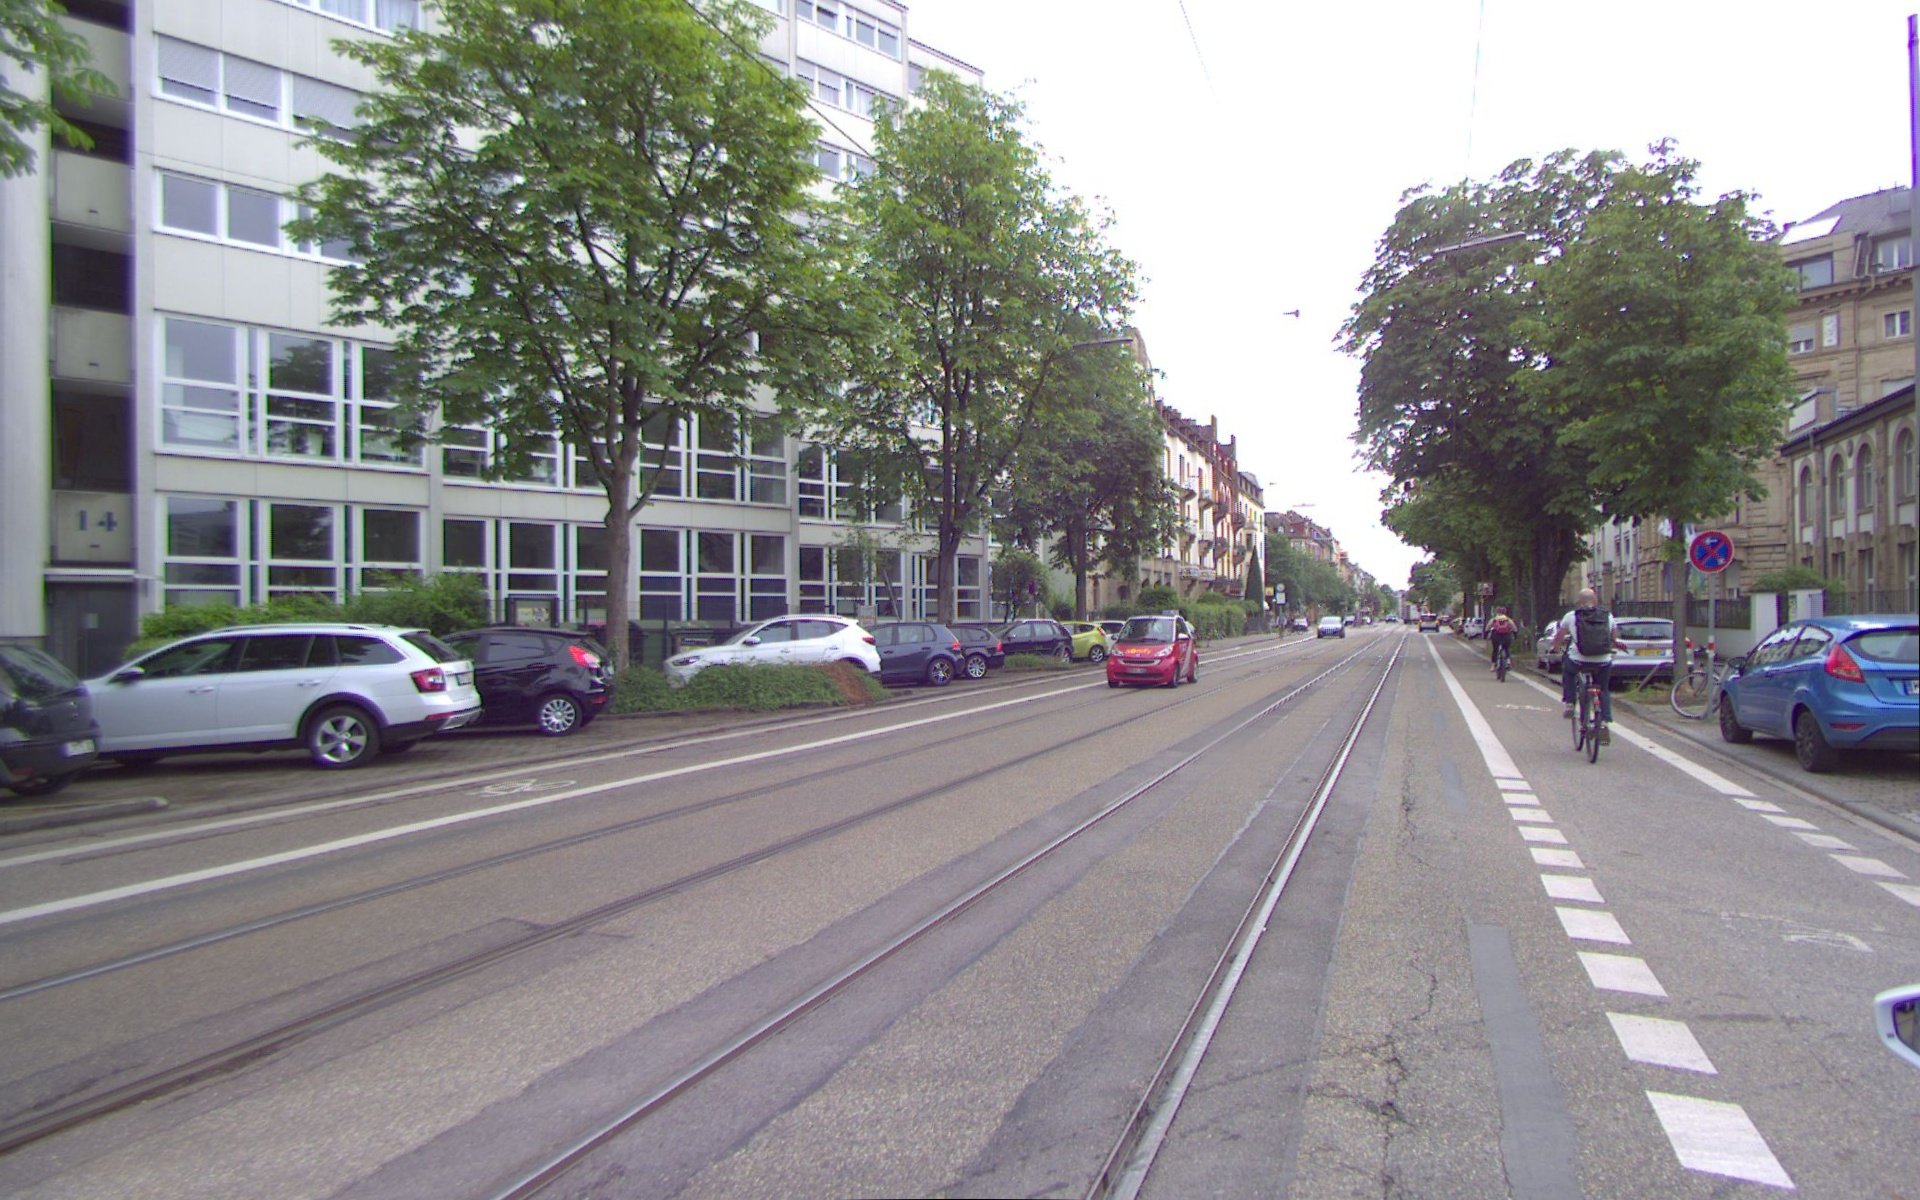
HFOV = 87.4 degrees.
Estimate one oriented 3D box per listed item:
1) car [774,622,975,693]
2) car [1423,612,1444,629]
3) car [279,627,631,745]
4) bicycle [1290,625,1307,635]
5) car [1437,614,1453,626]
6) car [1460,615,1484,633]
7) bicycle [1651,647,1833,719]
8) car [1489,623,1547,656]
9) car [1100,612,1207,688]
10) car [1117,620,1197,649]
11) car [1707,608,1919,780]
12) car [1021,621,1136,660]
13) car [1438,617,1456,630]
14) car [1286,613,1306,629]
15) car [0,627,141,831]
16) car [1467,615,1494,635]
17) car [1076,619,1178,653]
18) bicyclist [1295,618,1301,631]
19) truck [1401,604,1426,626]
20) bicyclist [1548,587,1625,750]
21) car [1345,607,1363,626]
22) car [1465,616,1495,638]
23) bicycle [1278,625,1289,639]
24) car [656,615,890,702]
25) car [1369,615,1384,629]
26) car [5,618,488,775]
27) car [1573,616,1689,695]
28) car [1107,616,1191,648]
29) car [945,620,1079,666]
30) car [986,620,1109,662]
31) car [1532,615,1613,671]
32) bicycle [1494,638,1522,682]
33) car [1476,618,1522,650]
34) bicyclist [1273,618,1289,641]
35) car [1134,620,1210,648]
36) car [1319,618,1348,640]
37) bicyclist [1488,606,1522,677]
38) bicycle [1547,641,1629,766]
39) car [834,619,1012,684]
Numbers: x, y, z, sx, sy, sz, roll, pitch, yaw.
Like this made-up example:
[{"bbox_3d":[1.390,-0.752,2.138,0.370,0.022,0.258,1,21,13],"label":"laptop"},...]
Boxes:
[{"bbox_3d":[-1.947,1.267,22.897,4.281,1.473,1.692,1,-1,-21],"label":"car"},{"bbox_3d":[48.496,2.136,102.829,1.784,1.731,3.694,0,-1,27],"label":"car"},{"bbox_3d":[-6.665,1.110,13.693,3.959,1.424,1.696,1,0,-13],"label":"car"},{"bbox_3d":[30.131,2.682,89.416,1.421,0.811,0.435,-1,-1,18],"label":"bicycle"},{"bbox_3d":[59.099,2.481,122.336,1.743,1.417,3.790,-1,-1,27],"label":"car"},{"bbox_3d":[42.717,1.999,83.789,1.743,1.417,3.790,-1,-1,27],"label":"car"},{"bbox_3d":[11.190,1.174,14.449,1.979,0.969,0.534,-1,-1,22],"label":"bicycle"},{"bbox_3d":[22.588,1.582,40.765,1.845,1.268,3.995,-1,-1,27],"label":"car"},{"bbox_3d":[4.284,1.053,21.985,1.650,1.542,2.779,0,-1,25],"label":"car"},{"bbox_3d":[9.804,1.714,50.144,3.646,1.404,1.700,1,0,1],"label":"car"},{"bbox_3d":[9.167,0.850,10.301,1.648,1.480,3.430,-2,-2,24],"label":"car"},{"bbox_3d":[4.420,1.484,37.517,3.909,1.370,1.692,1,-1,-21],"label":"car"},{"bbox_3d":[75.608,3.686,155.919,1.960,2.040,4.001,0,-1,18],"label":"car"},{"bbox_3d":[47.224,2.931,141.017,2.144,2.236,4.215,-1,-1,25],"label":"car"},{"bbox_3d":[-9.161,0.998,8.028,3.649,1.544,1.692,1,0,-20],"label":"car"},{"bbox_3d":[37.985,1.831,73.411,1.672,1.377,3.790,-1,-1,27],"label":"car"},{"bbox_3d":[6.978,1.489,42.023,3.909,1.370,1.692,1,-1,-21],"label":"car"},{"bbox_3d":[30.099,2.202,89.455,0.503,1.184,0.439,-1,-1,18],"label":"bicyclist"},{"bbox_3d":[87.694,2.911,194.289,3.746,4.083,10.215,-1,-1,21],"label":"truck"},{"bbox_3d":[6.496,0.678,10.418,0.653,1.590,0.983,0,-1,33],"label":"bicyclist"},{"bbox_3d":[52.417,2.164,133.619,2.169,2.449,3.999,-1,-1,21],"label":"car"},{"bbox_3d":[33.861,1.738,65.495,1.641,1.417,3.656,-1,-1,27],"label":"car"},{"bbox_3d":[21.602,2.111,67.035,0.462,0.880,2.136,-1,-1,25],"label":"bicycle"},{"bbox_3d":[-3.700,1.113,19.946,4.286,1.576,1.690,1,-1,-24],"label":"car"},{"bbox_3d":[71.934,3.798,173.331,2.171,2.285,3.997,-1,-1,25],"label":"car"},{"bbox_3d":[-7.550,0.982,11.063,3.959,1.504,1.696,1,0,-13],"label":"car"},{"bbox_3d":[13.997,1.086,21.120,1.452,1.500,3.563,0,-1,24],"label":"car"},{"bbox_3d":[8.843,1.500,47.177,3.646,1.404,1.700,1,0,1],"label":"car"},{"bbox_3d":[1.653,1.330,31.818,3.909,1.370,1.692,1,-1,-21],"label":"car"},{"bbox_3d":[3.021,1.409,34.746,3.909,1.370,1.692,1,-1,-21],"label":"car"},{"bbox_3d":[16.847,1.150,27.759,1.452,1.447,3.563,-1,-1,24],"label":"car"},{"bbox_3d":[12.977,1.397,23.829,0.482,0.992,2.055,0,-2,26],"label":"bicycle"},{"bbox_3d":[25.632,1.605,47.853,1.764,1.417,3.790,-1,-1,27],"label":"car"},{"bbox_3d":[21.404,1.940,66.915,0.830,1.520,1.026,-1,-1,26],"label":"bicyclist"},{"bbox_3d":[11.151,1.790,53.000,3.646,1.404,1.700,1,0,1],"label":"car"},{"bbox_3d":[26.058,2.015,70.040,1.713,1.448,3.998,-1,-1,23],"label":"car"},{"bbox_3d":[12.839,0.974,23.670,0.647,1.632,0.919,-1,-1,26],"label":"bicyclist"},{"bbox_3d":[6.621,1.033,10.603,0.655,1.132,1.862,1,0,32],"label":"bicycle"},{"bbox_3d":[-0.954,1.294,25.896,4.281,1.556,1.692,1,0,-21],"label":"car"}]
